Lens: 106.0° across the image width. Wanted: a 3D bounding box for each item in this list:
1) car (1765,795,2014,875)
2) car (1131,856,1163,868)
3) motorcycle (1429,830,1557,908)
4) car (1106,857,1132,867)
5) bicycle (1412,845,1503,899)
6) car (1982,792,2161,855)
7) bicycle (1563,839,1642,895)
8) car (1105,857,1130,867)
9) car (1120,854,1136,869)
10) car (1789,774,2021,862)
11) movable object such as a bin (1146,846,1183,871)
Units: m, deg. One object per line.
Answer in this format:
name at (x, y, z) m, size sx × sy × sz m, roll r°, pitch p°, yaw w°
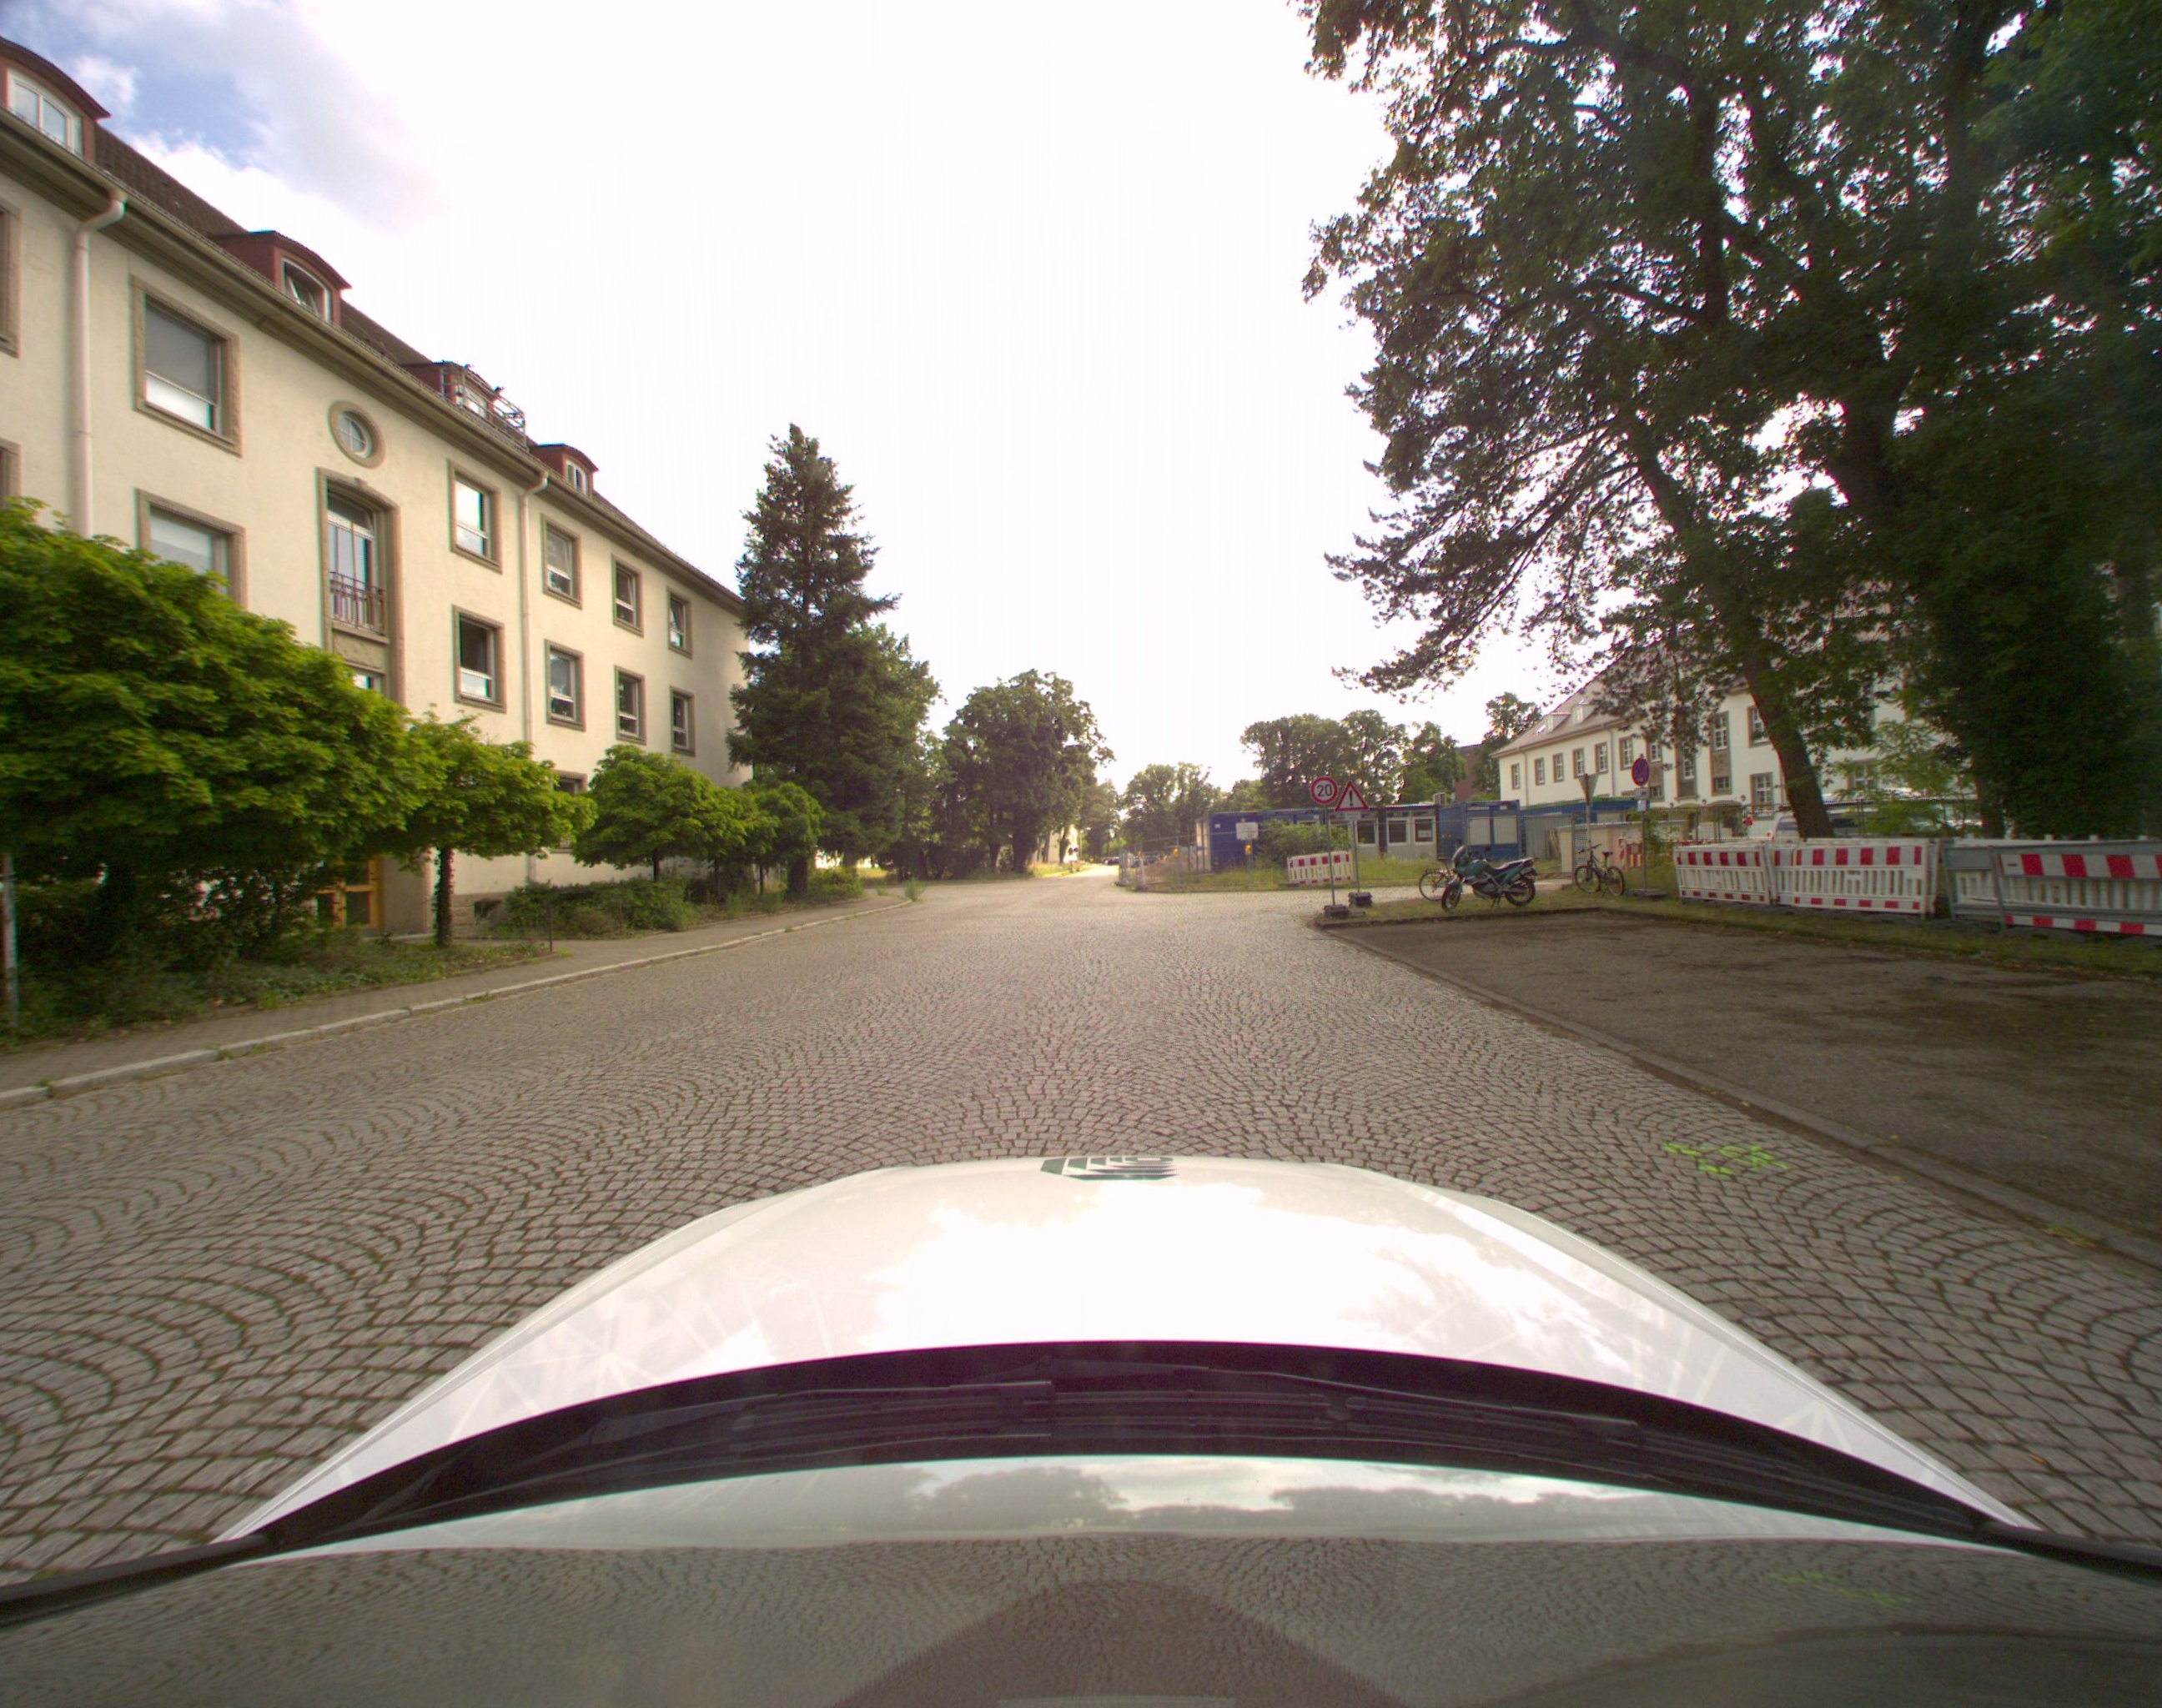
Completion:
car at (22.184, -0.526, 22.511) m, size 4.837 × 1.920 × 1.909 m, roll -2°, pitch 1°, yaw 3°
car at (9.330, 1.135, 115.274) m, size 4.375 × 1.510 × 2.006 m, roll -1°, pitch -1°, yaw 10°
motorcycle at (8.596, 0.313, 17.043) m, size 2.271 × 1.485 × 0.756 m, roll -3°, pitch 0°, yaw -3°
car at (7.357, 1.537, 156.316) m, size 4.769 × 1.641 × 1.998 m, roll -2°, pitch -1°, yaw -3°
bicycle at (8.939, 0.441, 19.425) m, size 1.882 × 1.197 × 0.659 m, roll -3°, pitch 0°, yaw 22°
car at (33.111, -0.920, 26.696) m, size 1.984 × 1.825 × 4.881 m, roll -1°, pitch -1°, yaw 5°
bicycle at (11.666, 0.272, 18.288) m, size 0.639 × 1.169 × 1.907 m, roll -3°, pitch 0°, yaw 5°
car at (7.072, 1.567, 159.434) m, size 4.769 × 1.641 × 1.998 m, roll -2°, pitch -1°, yaw -3°
car at (6.188, 0.998, 108.254) m, size 1.986 × 2.014 × 4.092 m, roll -2°, pitch -1°, yaw 2°
car at (26.636, -1.027, 26.750) m, size 1.984 × 2.556 × 5.918 m, roll -1°, pitch -1°, yaw 5°
movable object such as a bin at (9.259, 0.491, 90.192) m, size 2.108 × 2.593 × 4.821 m, roll -2°, pitch -1°, yaw 32°
